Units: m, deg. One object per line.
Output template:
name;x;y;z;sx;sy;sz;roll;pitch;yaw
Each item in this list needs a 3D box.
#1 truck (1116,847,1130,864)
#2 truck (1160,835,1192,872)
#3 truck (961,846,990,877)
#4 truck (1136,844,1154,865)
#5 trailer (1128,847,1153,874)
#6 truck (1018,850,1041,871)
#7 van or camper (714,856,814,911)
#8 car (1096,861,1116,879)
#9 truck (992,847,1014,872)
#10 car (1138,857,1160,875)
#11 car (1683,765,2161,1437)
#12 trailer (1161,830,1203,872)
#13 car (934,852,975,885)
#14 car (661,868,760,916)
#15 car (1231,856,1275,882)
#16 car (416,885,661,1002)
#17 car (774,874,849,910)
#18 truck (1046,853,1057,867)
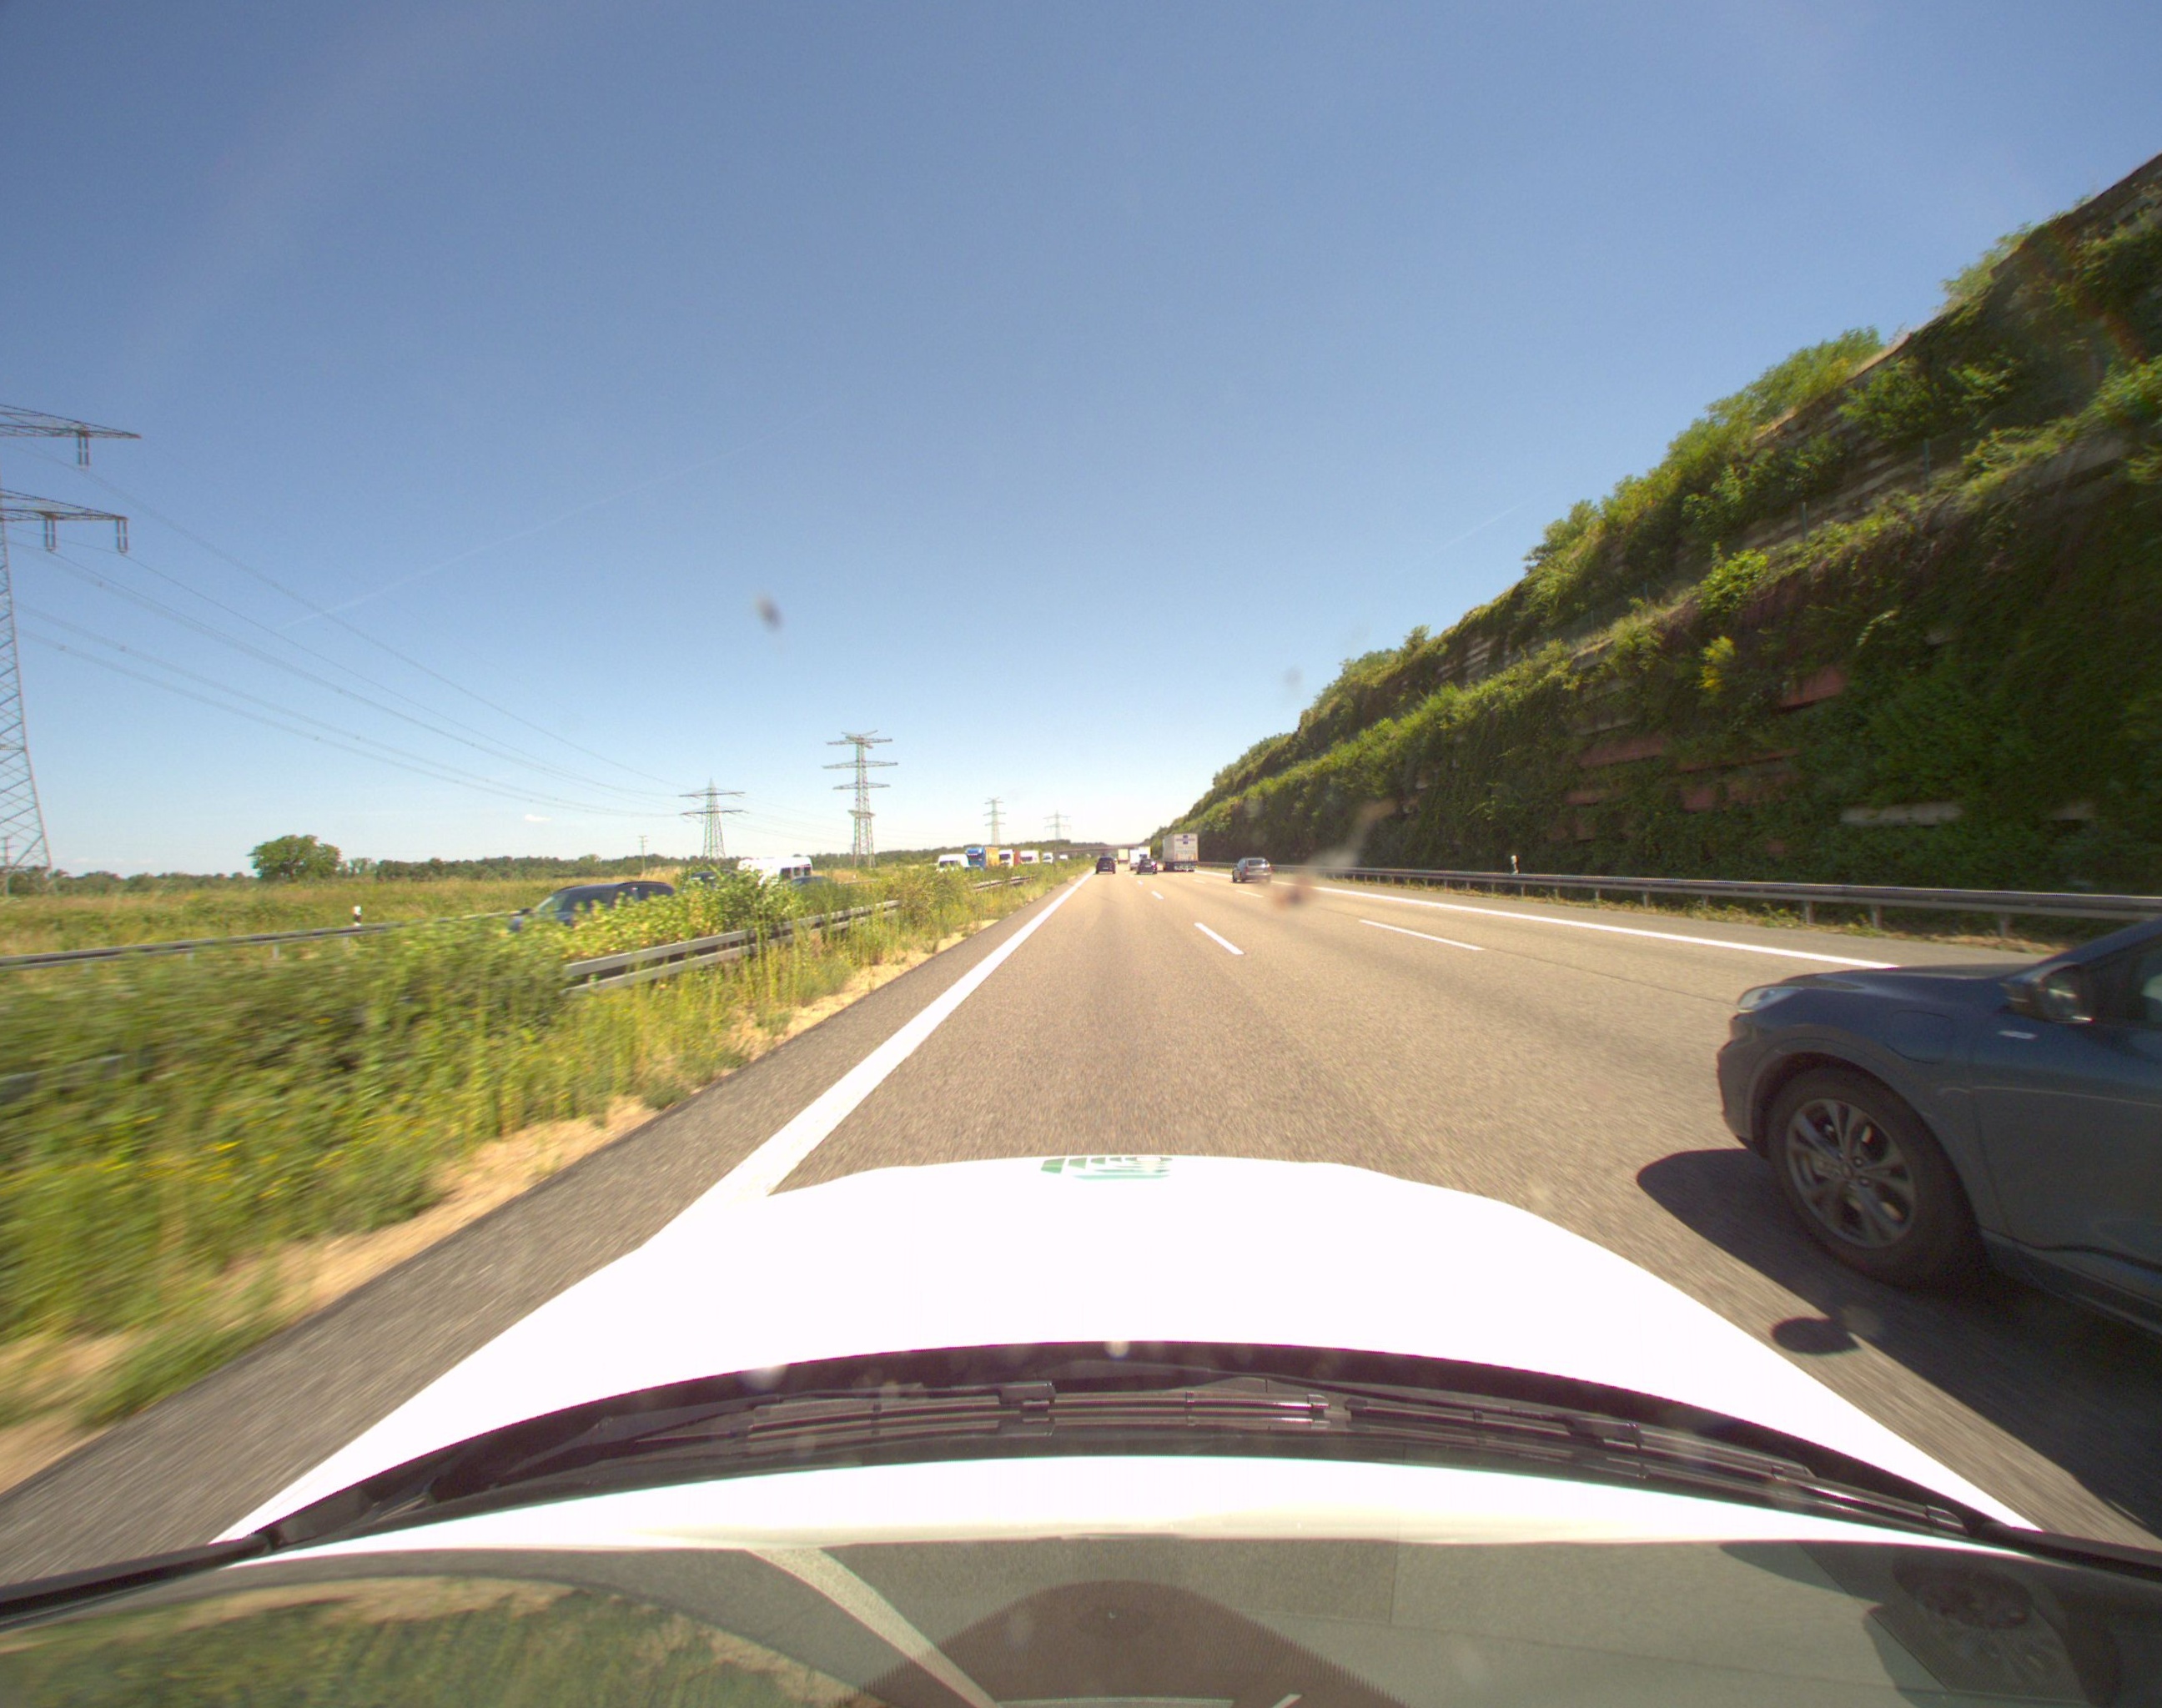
truck;11.370;0.456;221.504;3.397;4.280;10.611;-2;0;2
truck;11.214;-0.039;96.626;3.124;4.142;5.505;-2;0;2
truck;-14.127;0.979;109.589;2.853;3.907;5.622;-3;0;2
truck;13.418;0.160;171.450;3.107;4.280;11.938;-2;0;2
trailer;7.484;0.857;103.957;2.601;3.213;9.954;-2;0;1
truck;-8.883;1.162;141.158;2.926;3.413;9.368;-3;0;1
van or camper;-16.335;1.445;42.473;2.434;2.518;6.485;-3;0;1
car;2.498;1.627;81.752;1.823;1.670;4.001;-3;0;1
truck;-13.528;1.015;141.855;3.203;4.158;6.437;-3;0;-1
car;6.416;1.093;76.682;1.823;1.525;4.002;-3;0;2
car;3.524;0.584;1.521;1.787;1.653;4.139;-2;0;1
trailer;10.987;-0.240;89.767;3.171;4.121;13.436;-2;0;2
car;-11.098;1.227;72.037;2.097;2.631;7.470;-4;0;2
car;-16.397;1.627;36.354;2.040;1.854;4.870;-3;0;1
car;9.883;0.844;47.105;1.678;1.428;4.454;-1;0;1
car;-9.087;1.403;14.094;1.464;1.552;4.000;-3;0;1
car;-12.081;1.660;36.854;1.549;1.376;4.885;-3;0;2
truck;-8.638;1.698;235.856;2.686;4.068;5.803;-2;0;2
